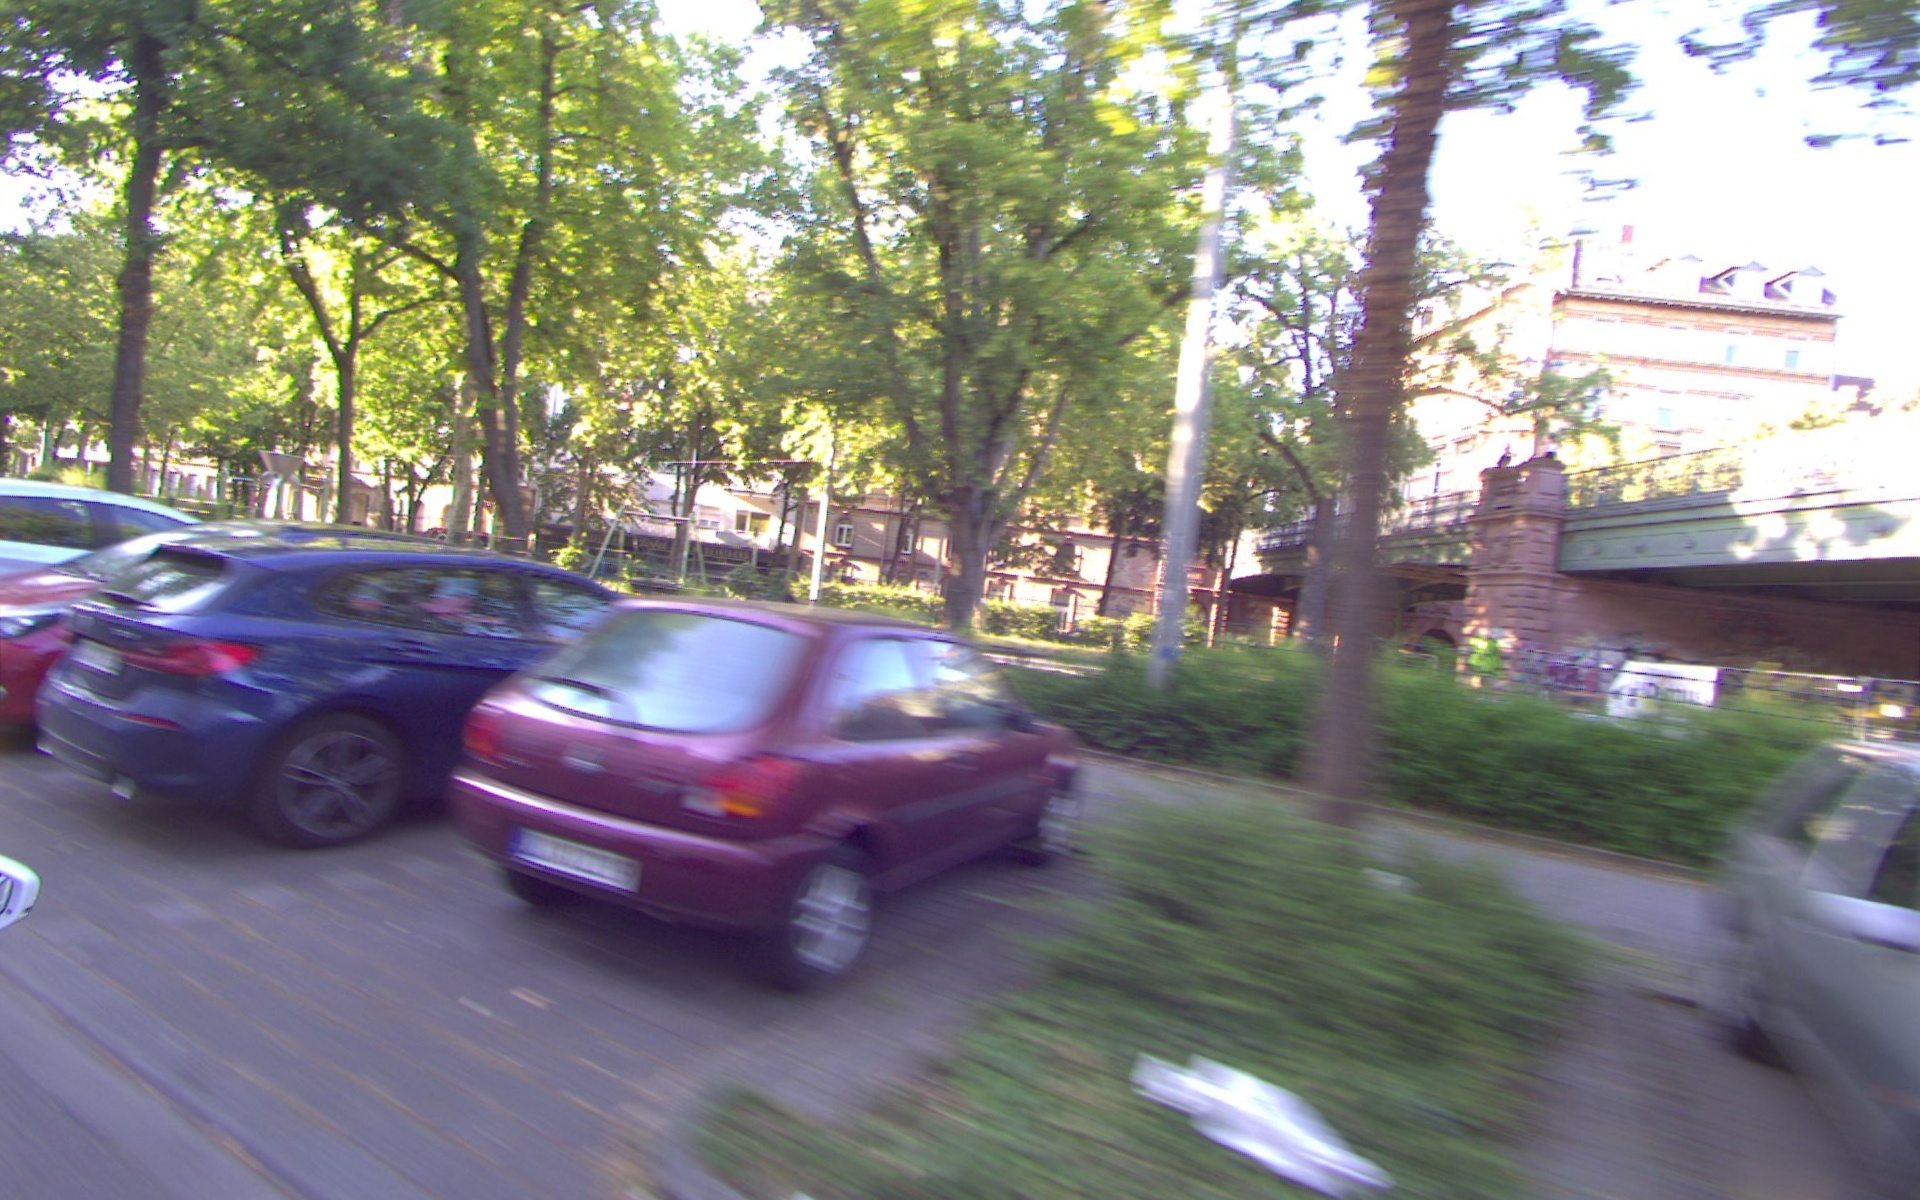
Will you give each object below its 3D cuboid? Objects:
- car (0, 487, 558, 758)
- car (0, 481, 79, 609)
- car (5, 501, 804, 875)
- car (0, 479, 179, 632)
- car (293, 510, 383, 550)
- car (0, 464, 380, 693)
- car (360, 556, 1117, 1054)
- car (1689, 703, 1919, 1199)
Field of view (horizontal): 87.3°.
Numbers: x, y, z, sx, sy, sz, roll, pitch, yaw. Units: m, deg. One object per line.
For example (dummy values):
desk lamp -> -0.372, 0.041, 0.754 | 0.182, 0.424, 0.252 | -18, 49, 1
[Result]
car -> -5.129, 0.164, 7.330 | 1.637, 1.492, 3.785 | 5, 0, 32
car -> -13.718, -0.868, 12.063 | 1.637, 1.597, 4.403 | 5, -1, 32
car -> -2.894, 0.424, 6.015 | 1.638, 1.465, 3.782 | 5, -1, 35
car -> -11.413, -0.604, 10.835 | 1.638, 1.597, 4.400 | 5, -1, 34
car -> -36.851, -4.103, 59.706 | 1.966, 1.703, 3.996 | 5, -2, 29
car -> -7.303, -0.166, 8.482 | 1.636, 1.666, 3.787 | 5, 0, 30
car -> -0.640, 0.707, 5.155 | 1.735, 1.419, 3.790 | 5, -1, 26
car -> 3.287, 1.146, 2.650 | 1.636, 1.419, 3.788 | 5, -1, 29
